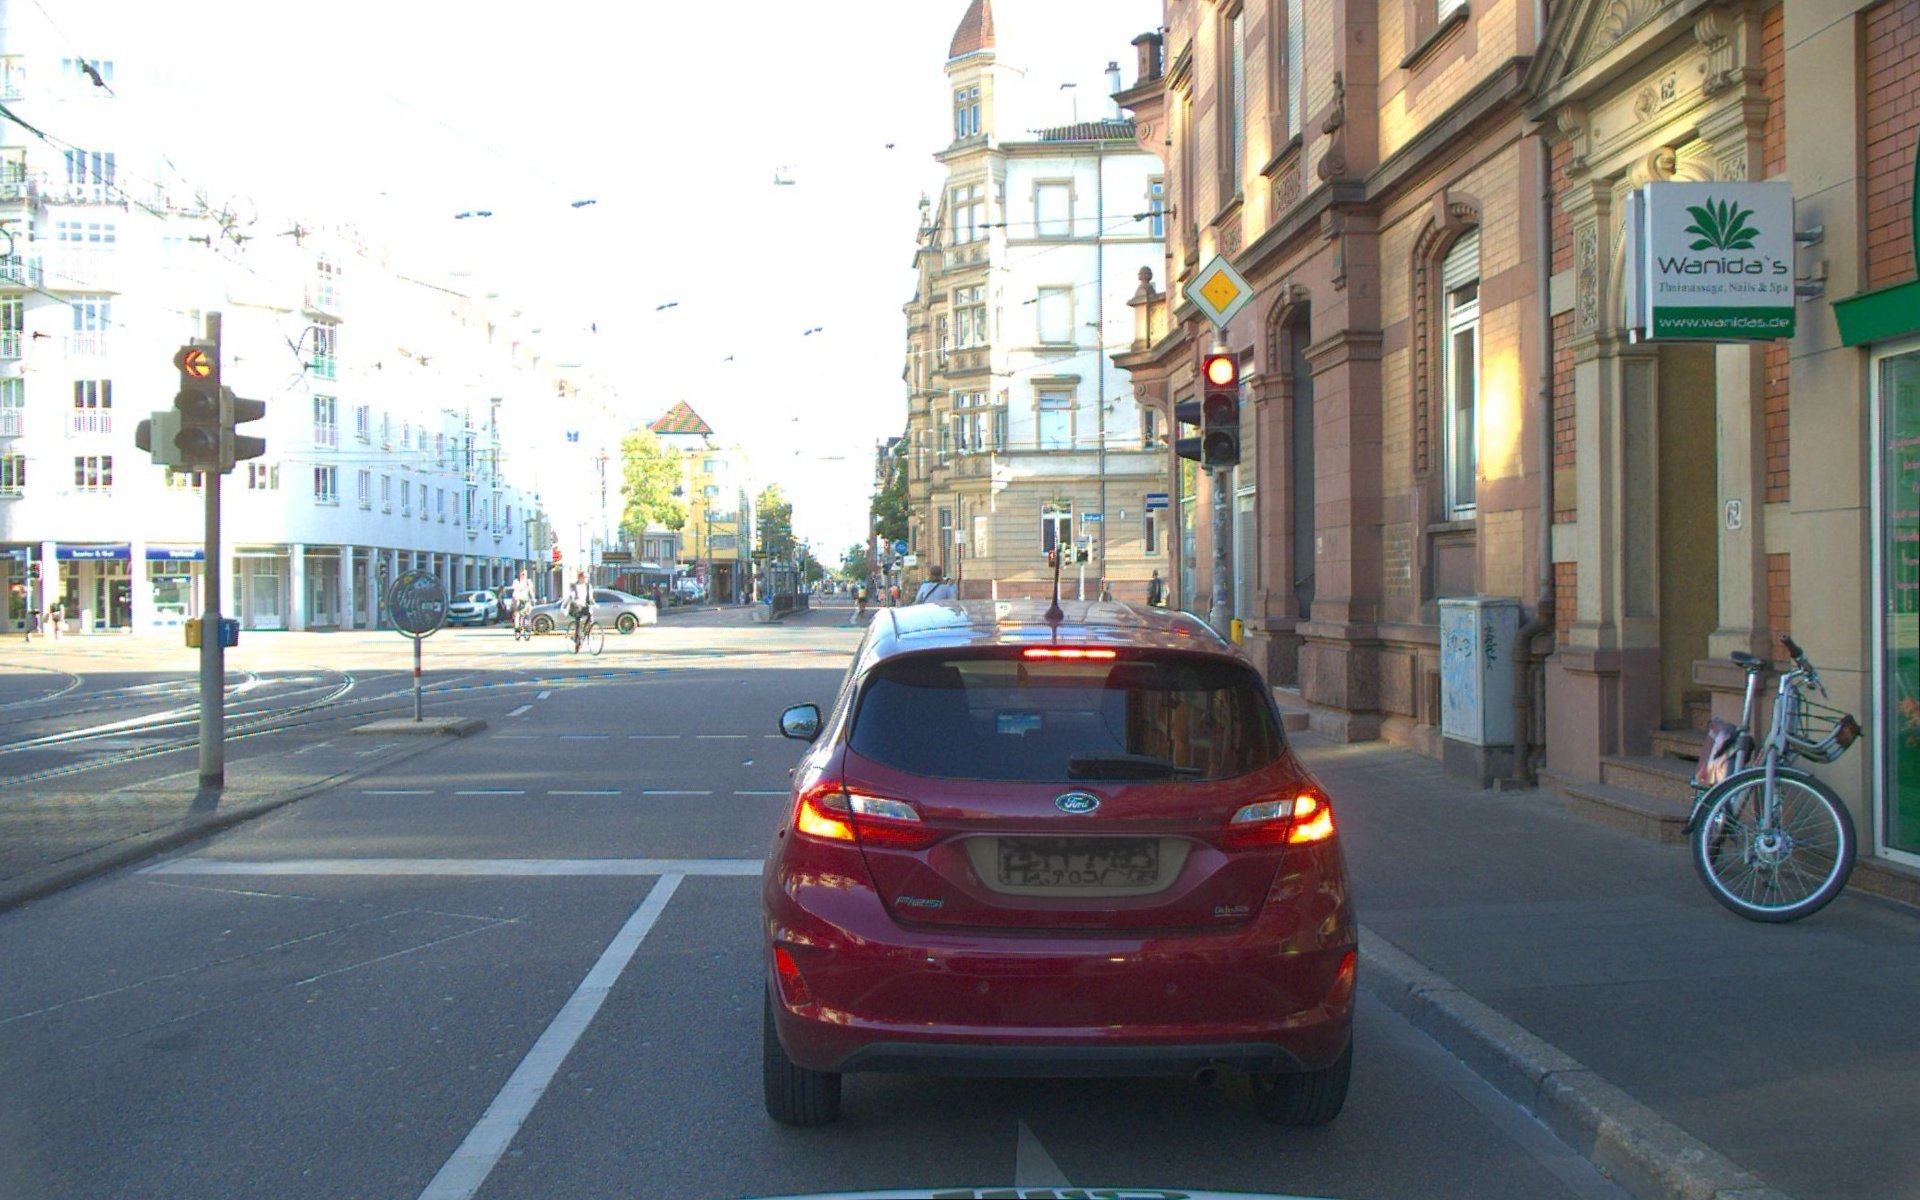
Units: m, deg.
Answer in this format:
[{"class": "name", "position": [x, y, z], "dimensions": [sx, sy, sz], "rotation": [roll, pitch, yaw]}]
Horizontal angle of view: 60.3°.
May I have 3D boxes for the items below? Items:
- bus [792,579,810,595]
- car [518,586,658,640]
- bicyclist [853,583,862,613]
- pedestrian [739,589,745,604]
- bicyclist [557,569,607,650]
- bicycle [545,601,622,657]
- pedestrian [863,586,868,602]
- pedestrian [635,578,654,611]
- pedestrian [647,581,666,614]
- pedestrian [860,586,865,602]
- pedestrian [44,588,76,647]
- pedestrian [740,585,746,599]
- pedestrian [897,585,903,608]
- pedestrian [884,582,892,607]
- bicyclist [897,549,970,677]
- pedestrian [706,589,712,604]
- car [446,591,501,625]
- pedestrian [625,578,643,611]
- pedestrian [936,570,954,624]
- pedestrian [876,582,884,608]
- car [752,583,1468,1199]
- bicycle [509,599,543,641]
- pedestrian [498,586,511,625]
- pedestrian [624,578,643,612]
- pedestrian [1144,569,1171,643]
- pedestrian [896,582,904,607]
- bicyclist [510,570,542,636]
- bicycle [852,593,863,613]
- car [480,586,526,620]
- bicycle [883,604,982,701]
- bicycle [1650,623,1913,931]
[{"class": "bus", "position": [-20.863, -1.649, 216.732], "dimensions": [1.887, 2.049, 7.134], "rotation": [-1, 0, -2]}, {"class": "car", "position": [-12.143, 0.398, 54.105], "dimensions": [4.367, 1.669, 1.698], "rotation": [-1, 0, -13]}, {"class": "bicyclist", "position": [-5.777, -0.113, 93.260], "dimensions": [0.489, 1.705, 0.545], "rotation": [-1, 0, -2]}, {"class": "pedestrian", "position": [-21.316, -0.347, 161.775], "dimensions": [0.513, 1.514, 0.582], "rotation": [-1, 0, -2]}, {"class": "bicyclist", "position": [-8.337, 0.203, 36.487], "dimensions": [0.803, 1.756, 0.782], "rotation": [-1, 0, -41]}, {"class": "bicycle", "position": [-8.311, 0.625, 36.463], "dimensions": [0.803, 1.167, 2.019], "rotation": [-1, 0, -41]}, {"class": "pedestrian", "position": [-11.448, -0.770, 200.205], "dimensions": [0.565, 1.920, 0.630], "rotation": [-1, 0, -3]}, {"class": "pedestrian", "position": [-19.949, -0.355, 104.630], "dimensions": [1.025, 2.049, 0.958], "rotation": [-1, 0, -6]}, {"class": "pedestrian", "position": [-18.776, -0.148, 102.246], "dimensions": [1.025, 2.049, 0.958], "rotation": [-1, 0, -6]}, {"class": "pedestrian", "position": [-11.994, -0.719, 203.590], "dimensions": [0.565, 1.920, 0.669], "rotation": [-1, 0, -3]}, {"class": "pedestrian", "position": [-31.709, 0.596, 58.284], "dimensions": [0.934, 2.049, 0.930], "rotation": [-1, 0, -31]}, {"class": "pedestrian", "position": [-25.772, -0.963, 196.328], "dimensions": [0.619, 1.632, 0.575], "rotation": [-1, 0, -20]}, {"class": "pedestrian", "position": [-4.405, -0.260, 120.966], "dimensions": [0.405, 1.710, 0.484], "rotation": [-1, 0, -1]}, {"class": "pedestrian", "position": [-5.862, -0.456, 135.114], "dimensions": [0.565, 2.049, 0.631], "rotation": [-1, 0, 2]}, {"class": "bicyclist", "position": [-0.352, 0.165, 21.999], "dimensions": [0.747, 1.655, 0.732], "rotation": [1, 0, 21]}, {"class": "pedestrian", "position": [-24.982, -0.375, 164.535], "dimensions": [0.569, 1.514, 0.525], "rotation": [-1, 0, -5]}, {"class": "car", "position": [-23.356, 0.353, 79.506], "dimensions": [1.730, 1.573, 3.459], "rotation": [-1, 0, -3]}, {"class": "pedestrian", "position": [-20.204, -0.327, 102.531], "dimensions": [1.025, 2.049, 0.958], "rotation": [-1, 0, -6]}, {"class": "pedestrian", "position": [-0.576, -0.108, 63.582], "dimensions": [0.638, 2.049, 0.759], "rotation": [-1, 0, -4]}, {"class": "pedestrian", "position": [-6.562, -0.417, 135.235], "dimensions": [0.565, 2.049, 0.631], "rotation": [-1, 0, 2]}, {"class": "car", "position": [0.201, 0.709, 5.919], "dimensions": [1.720, 1.492, 3.941], "rotation": [1, 0, -5]}, {"class": "bicycle", "position": [-12.413, 0.555, 47.261], "dimensions": [0.795, 1.167, 2.000], "rotation": [-1, 0, -18]}, {"class": "pedestrian", "position": [-20.140, 0.235, 73.100], "dimensions": [0.514, 1.711, 0.485], "rotation": [-1, 0, -11]}, {"class": "pedestrian", "position": [-19.782, -0.303, 100.226], "dimensions": [0.937, 2.049, 1.048], "rotation": [-1, 0, -4]}, {"class": "pedestrian", "position": [4.849, 0.135, 40.630], "dimensions": [0.549, 1.786, 0.650], "rotation": [-1, 0, -1]}, {"class": "pedestrian", "position": [-4.909, -0.447, 134.607], "dimensions": [0.565, 2.049, 0.631], "rotation": [-1, 0, 2]}, {"class": "bicyclist", "position": [-12.356, 0.077, 47.062], "dimensions": [0.795, 1.853, 0.988], "rotation": [-1, 0, -18]}, {"class": "bicycle", "position": [-5.780, 0.186, 93.396], "dimensions": [0.515, 1.108, 1.486], "rotation": [-1, 0, -1]}, {"class": "car", "position": [-23.998, 0.148, 86.944], "dimensions": [1.667, 1.748, 3.561], "rotation": [-1, 0, -4]}, {"class": "bicycle", "position": [-0.341, 0.667, 21.956], "dimensions": [0.613, 1.198, 2.025], "rotation": [1, 0, 20]}, {"class": "bicycle", "position": [3.634, 0.726, 7.460], "dimensions": [0.700, 1.172, 1.656], "rotation": [-2, 0, 15]}]
